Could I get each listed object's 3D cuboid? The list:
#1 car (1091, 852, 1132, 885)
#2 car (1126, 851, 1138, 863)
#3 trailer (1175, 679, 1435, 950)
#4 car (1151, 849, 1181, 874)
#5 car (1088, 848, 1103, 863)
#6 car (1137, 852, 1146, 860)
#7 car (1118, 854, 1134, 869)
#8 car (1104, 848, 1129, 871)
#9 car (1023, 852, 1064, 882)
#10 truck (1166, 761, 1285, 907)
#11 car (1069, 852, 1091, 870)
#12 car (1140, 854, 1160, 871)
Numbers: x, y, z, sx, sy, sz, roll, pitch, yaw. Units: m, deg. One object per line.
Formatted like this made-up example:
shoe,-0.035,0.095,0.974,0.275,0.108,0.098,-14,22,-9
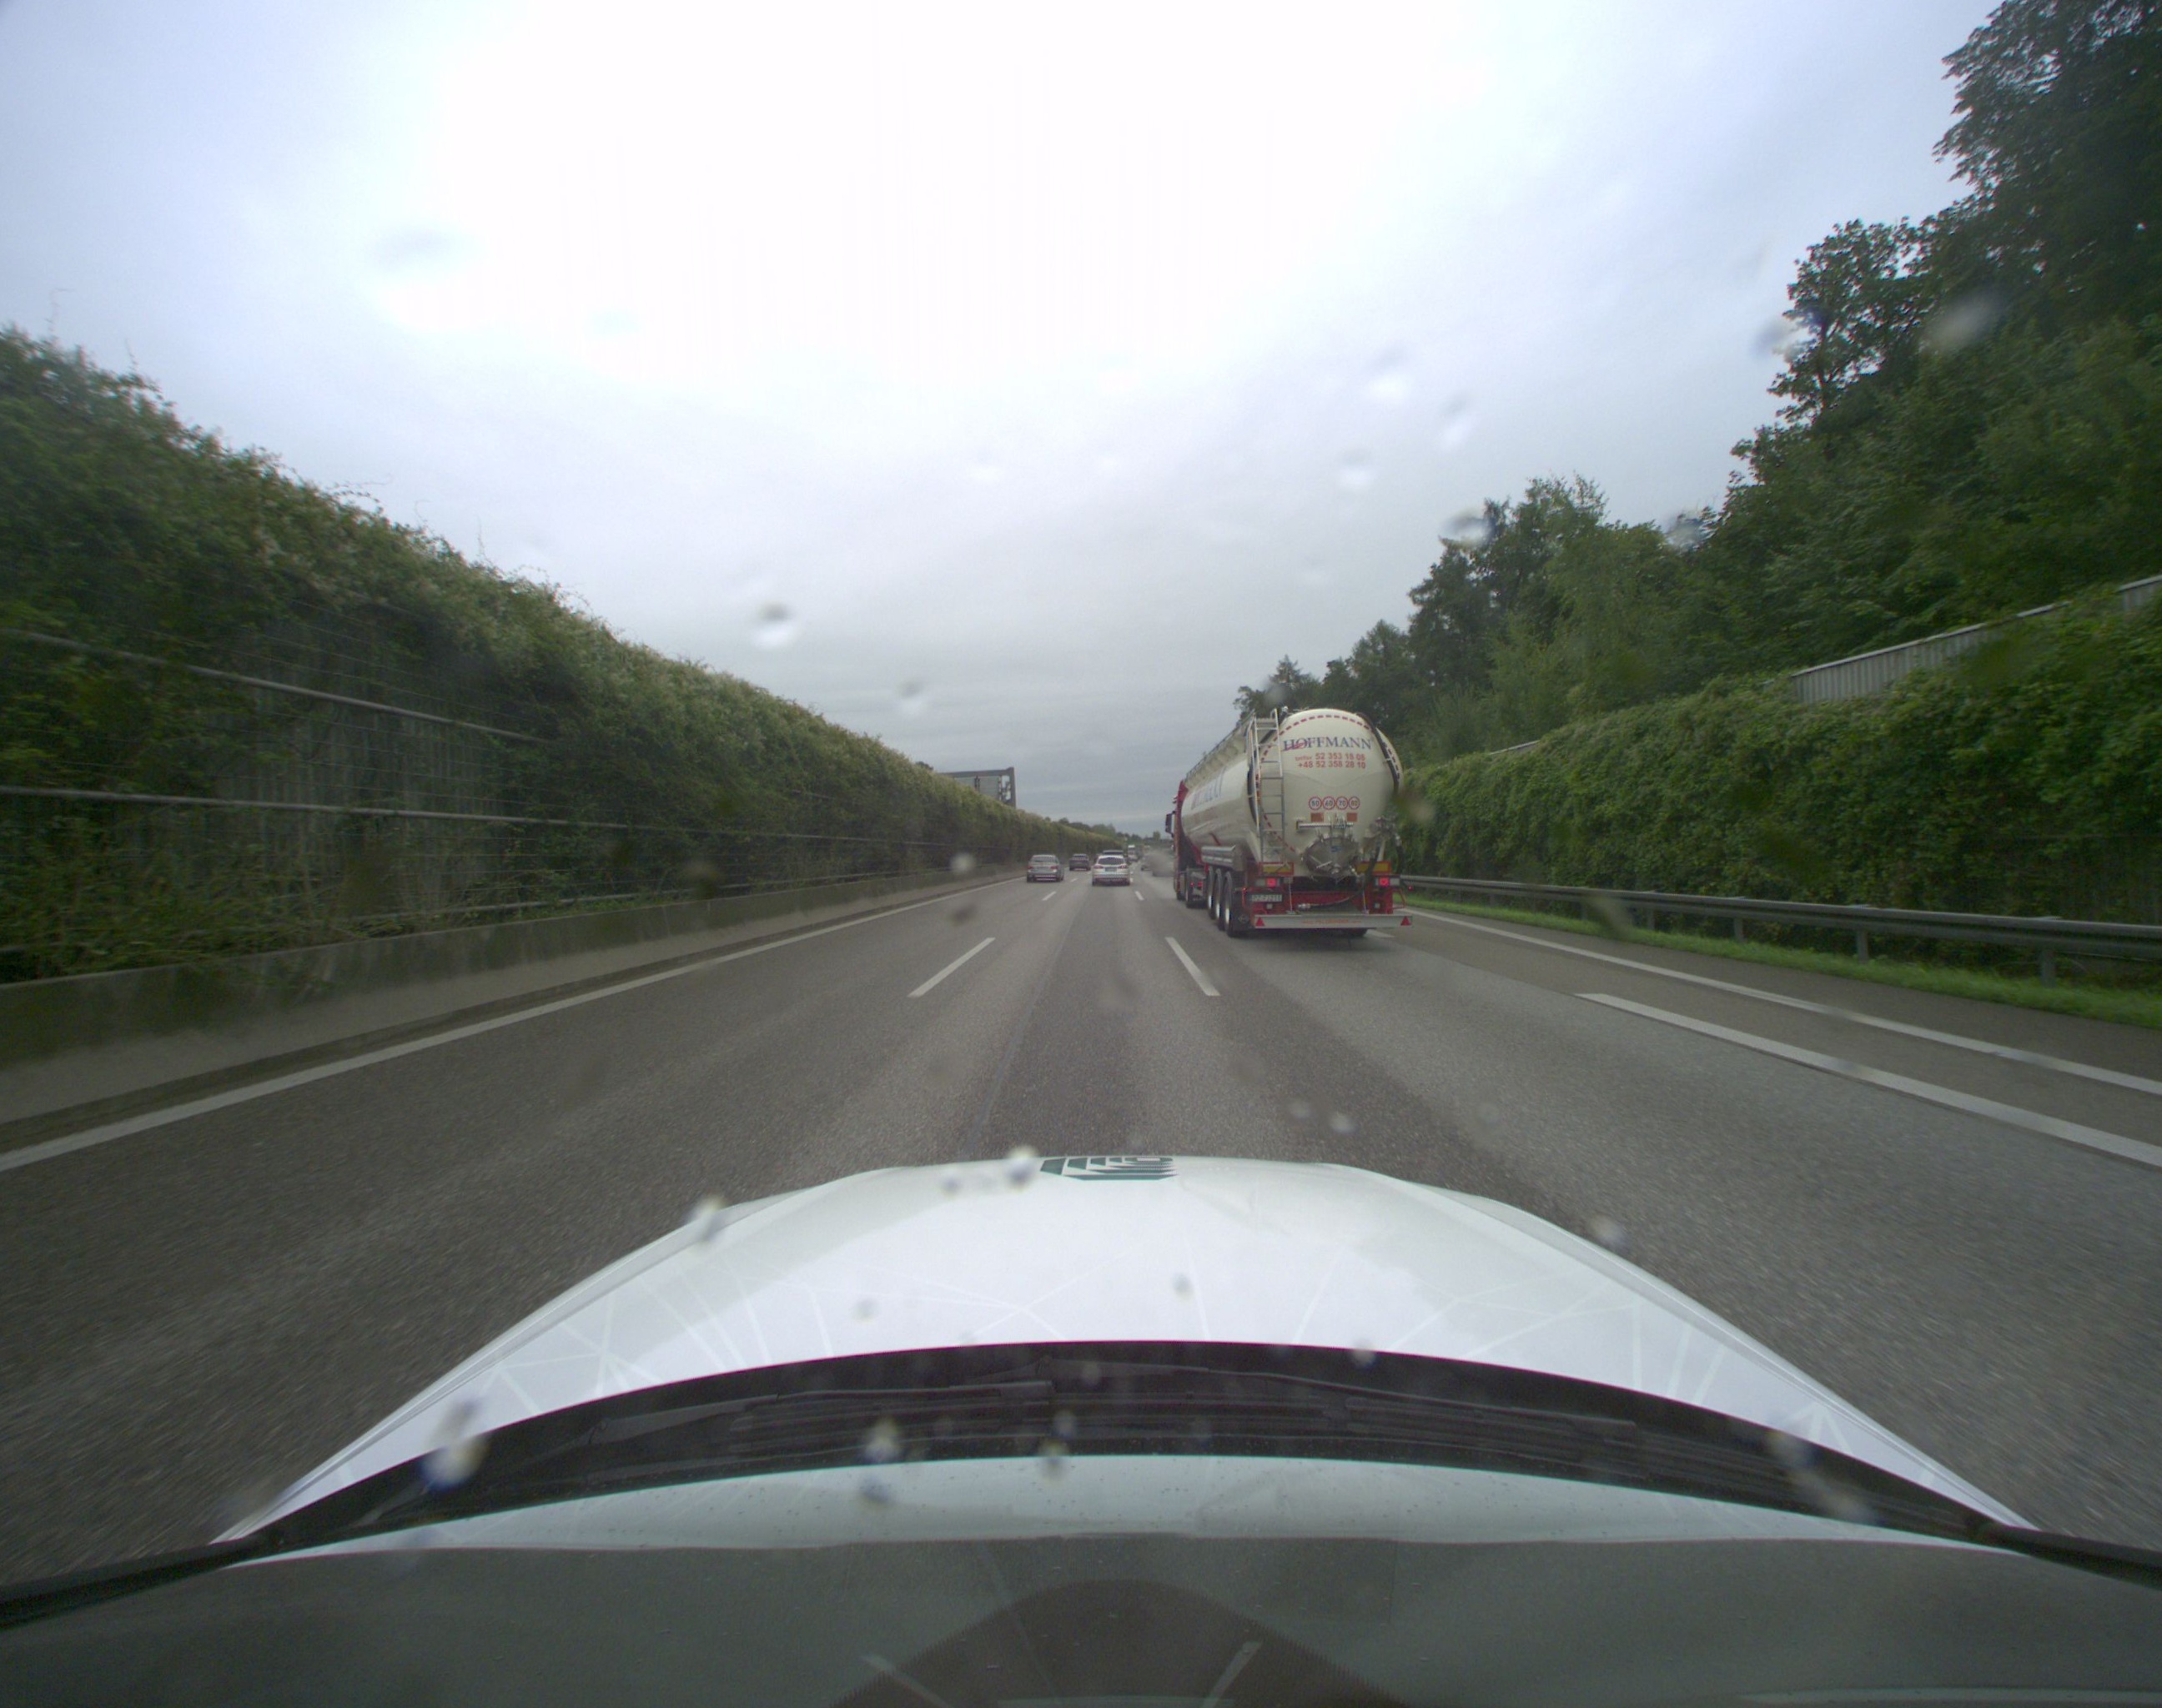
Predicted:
car,1.568,0.693,40.476,1.884,1.504,5.034,-1,0,3
car,8.292,0.472,131.919,1.781,1.779,3.876,-2,0,5
trailer,4.038,-0.543,18.535,2.658,3.939,13.135,-1,0,2
car,5.748,0.501,55.463,1.808,1.625,5.036,-1,0,4
car,2.053,0.163,114.284,1.986,2.013,3.842,-1,0,1
car,11.900,0.413,160.958,1.680,1.539,3.878,-1,0,6
car,4.677,0.804,84.716,1.682,1.506,3.874,-1,0,3
car,2.543,0.380,59.081,1.682,1.506,3.874,3,1,2
car,-2.043,0.686,45.413,1.712,1.469,5.036,-1,1,4
truck,4.240,-0.526,25.271,2.685,3.912,6.559,-1,0,2
car,-0.050,0.629,73.134,1.713,1.512,5.032,-1,0,2
car,6.138,0.759,72.784,1.681,1.506,3.875,-1,0,4
